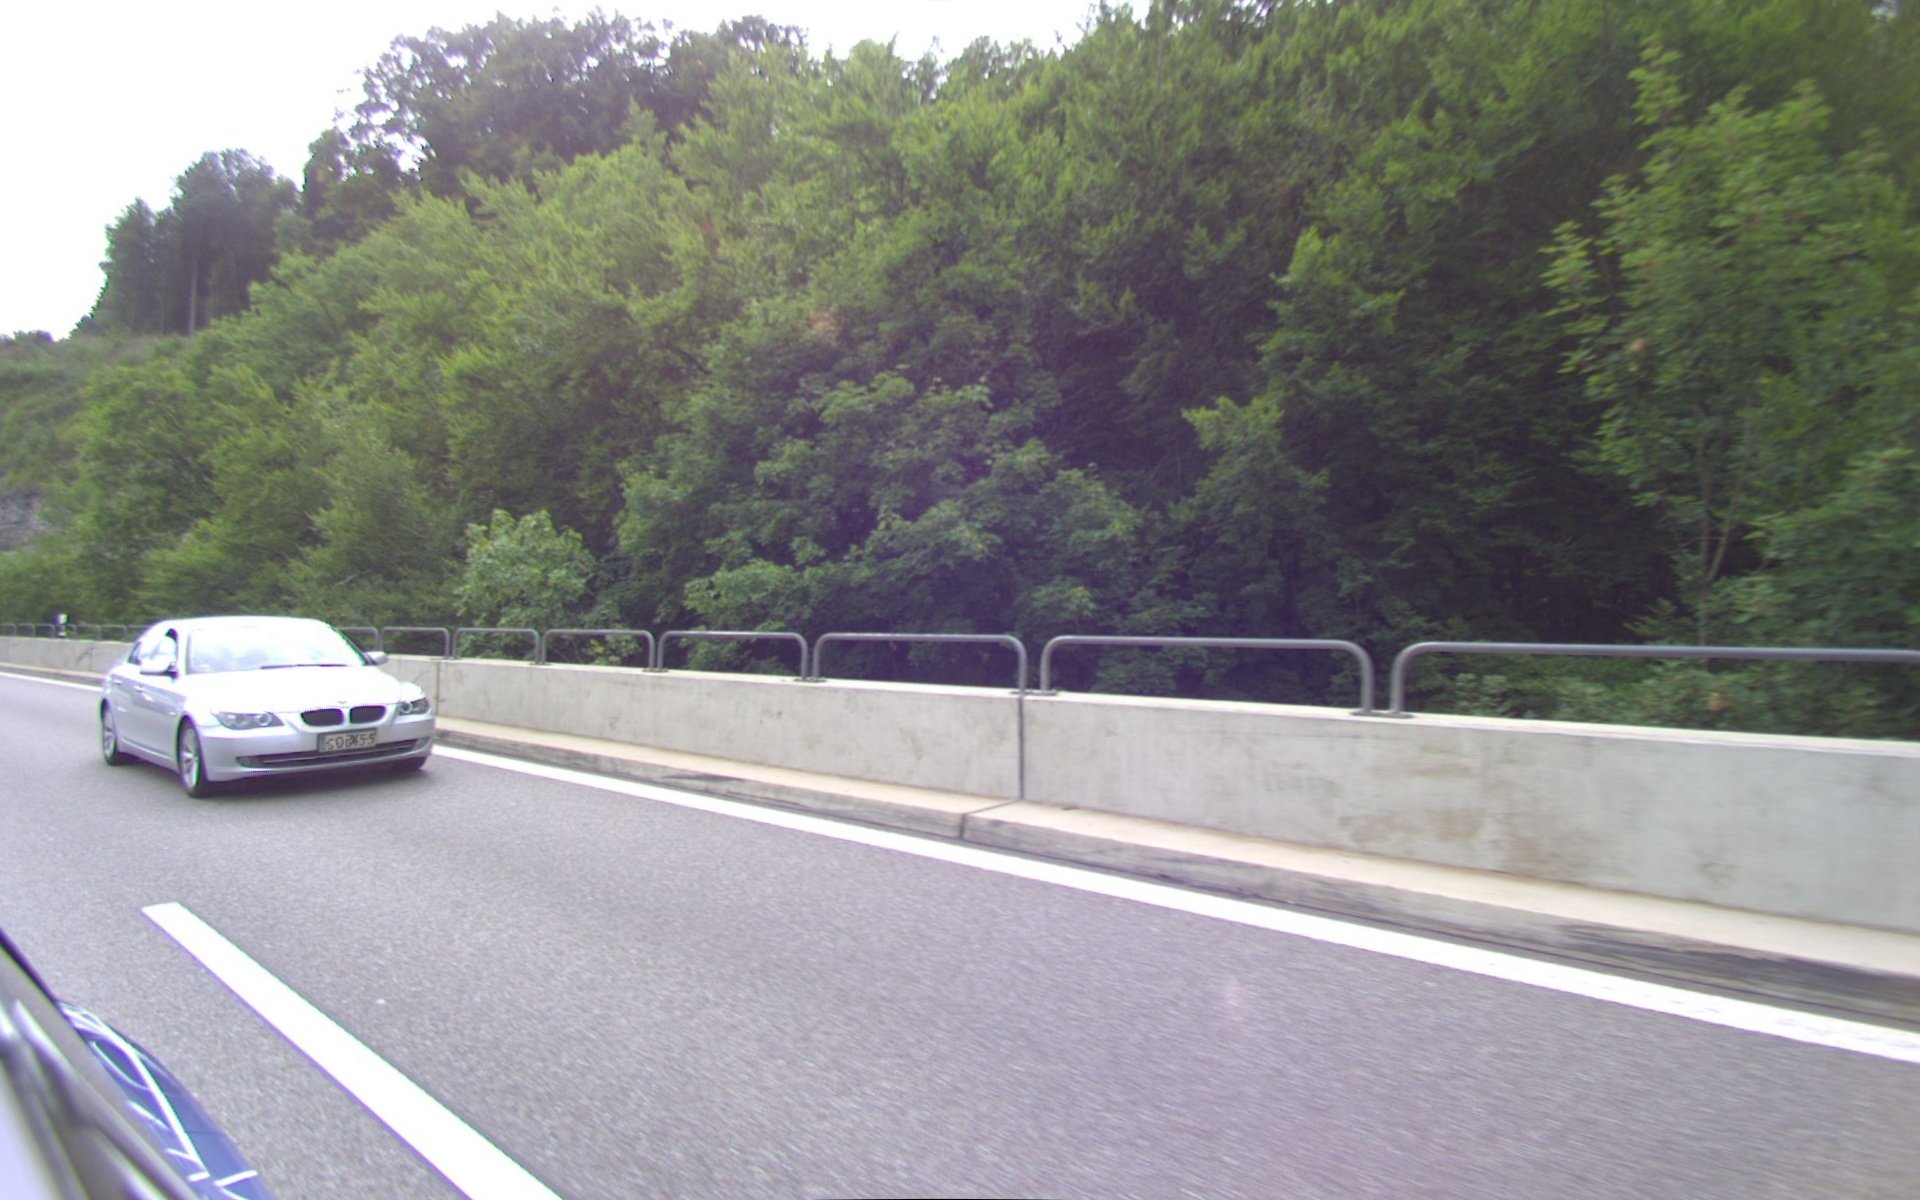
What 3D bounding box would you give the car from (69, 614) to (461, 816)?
[{"bbox_3d":[-6.928,0.904,9.824,5.130,1.468,1.810,-1,-1,40],"label":"car"}]
